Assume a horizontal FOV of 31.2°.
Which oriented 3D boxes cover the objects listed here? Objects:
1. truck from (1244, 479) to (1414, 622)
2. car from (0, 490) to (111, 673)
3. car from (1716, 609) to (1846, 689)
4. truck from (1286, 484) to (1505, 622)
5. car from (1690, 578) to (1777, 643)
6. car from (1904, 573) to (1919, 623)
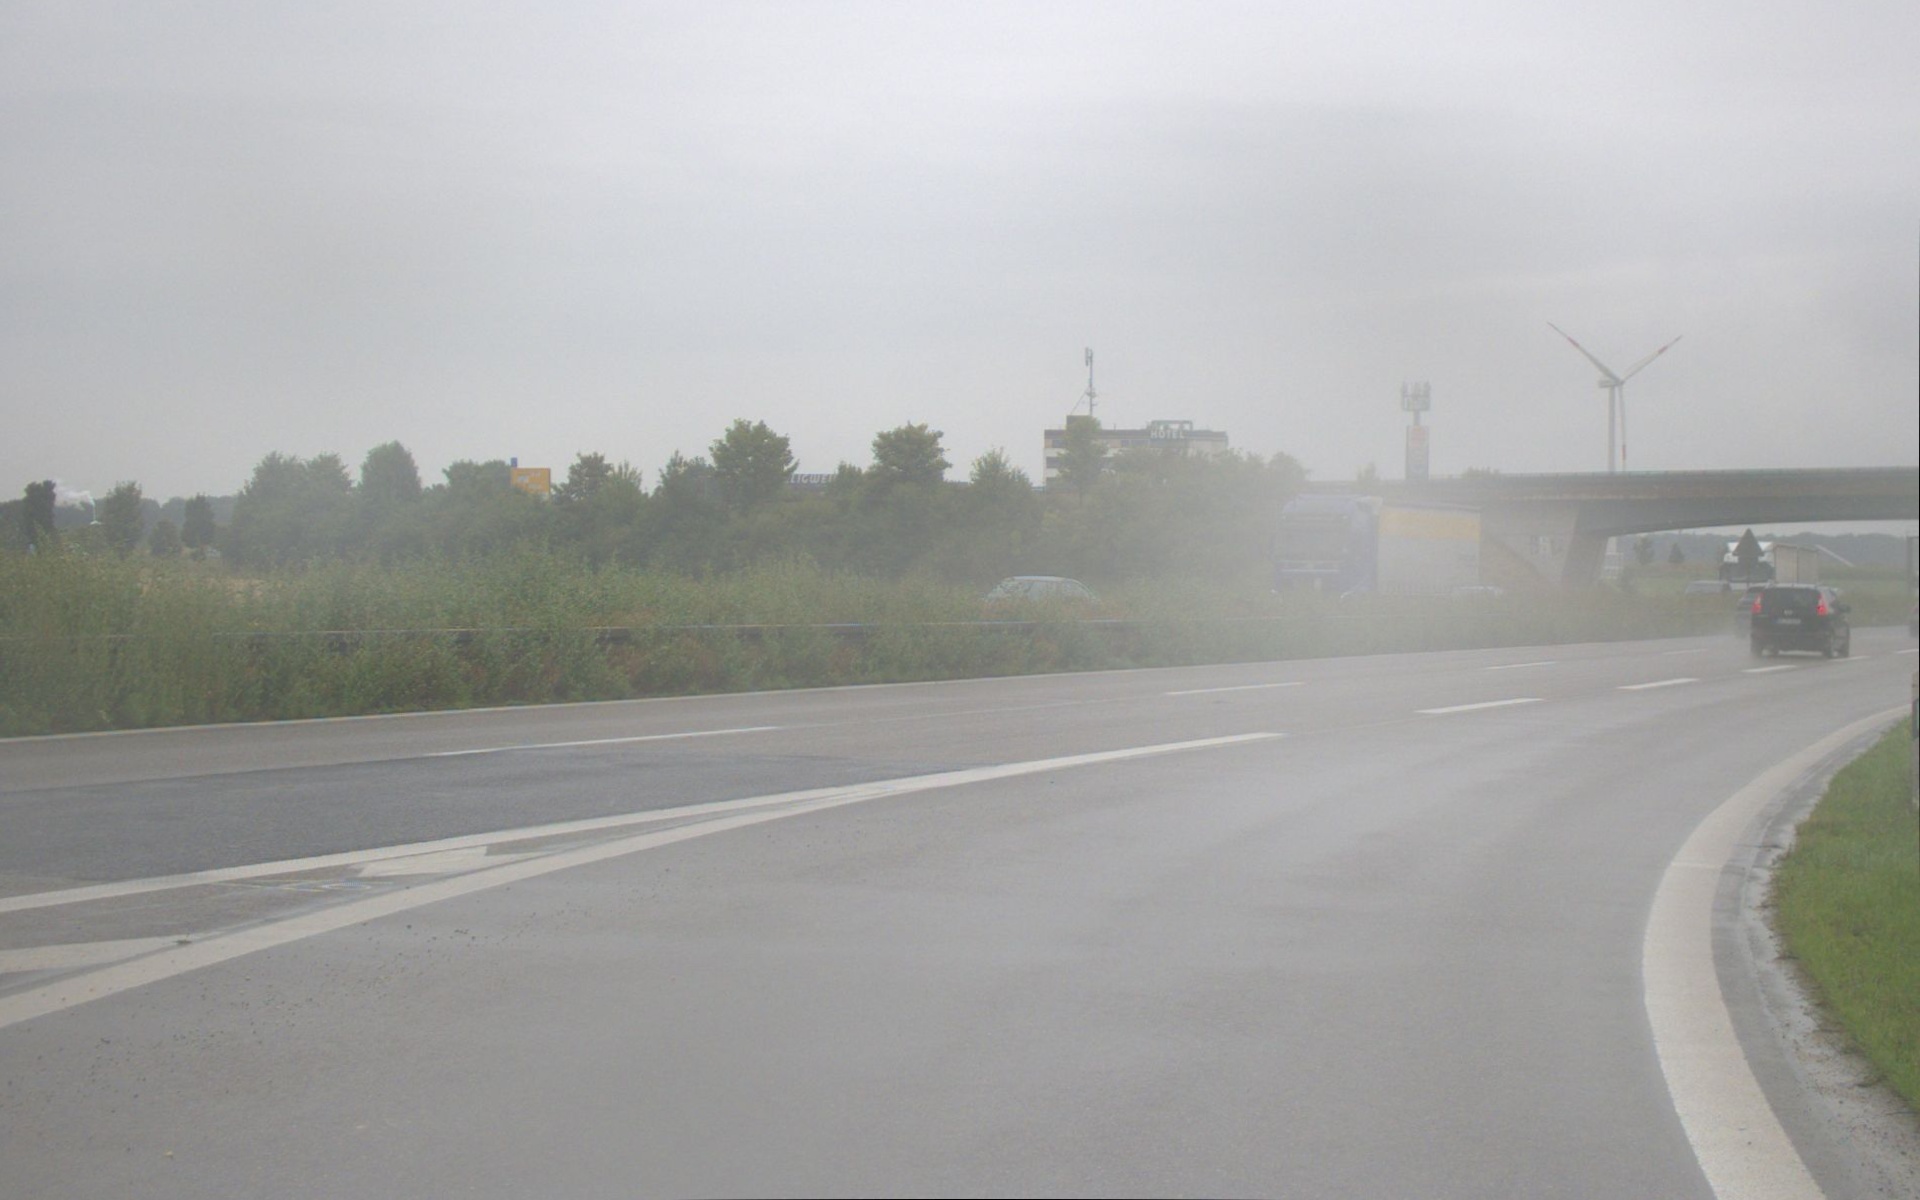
[{"bbox_3d":[11.029,-1.428,102.093,3.198,3.953,6.655,4,1,21],"label":"truck"},{"bbox_3d":[-10.910,-0.237,35.093,2.107,1.869,4.526,3,1,20],"label":"car"},{"bbox_3d":[18.110,1.070,75.692,2.148,1.630,4.590,2,0,21],"label":"car"},{"bbox_3d":[14.178,-1.424,110.318,3.198,3.953,15.301,4,1,21],"label":"truck"},{"bbox_3d":[23.177,0.303,102.922,1.995,1.744,3.996,-1,2,21],"label":"car"},{"bbox_3d":[32.856,-0.019,114.971,2.055,1.630,4.344,2,0,21],"label":"car"}]
